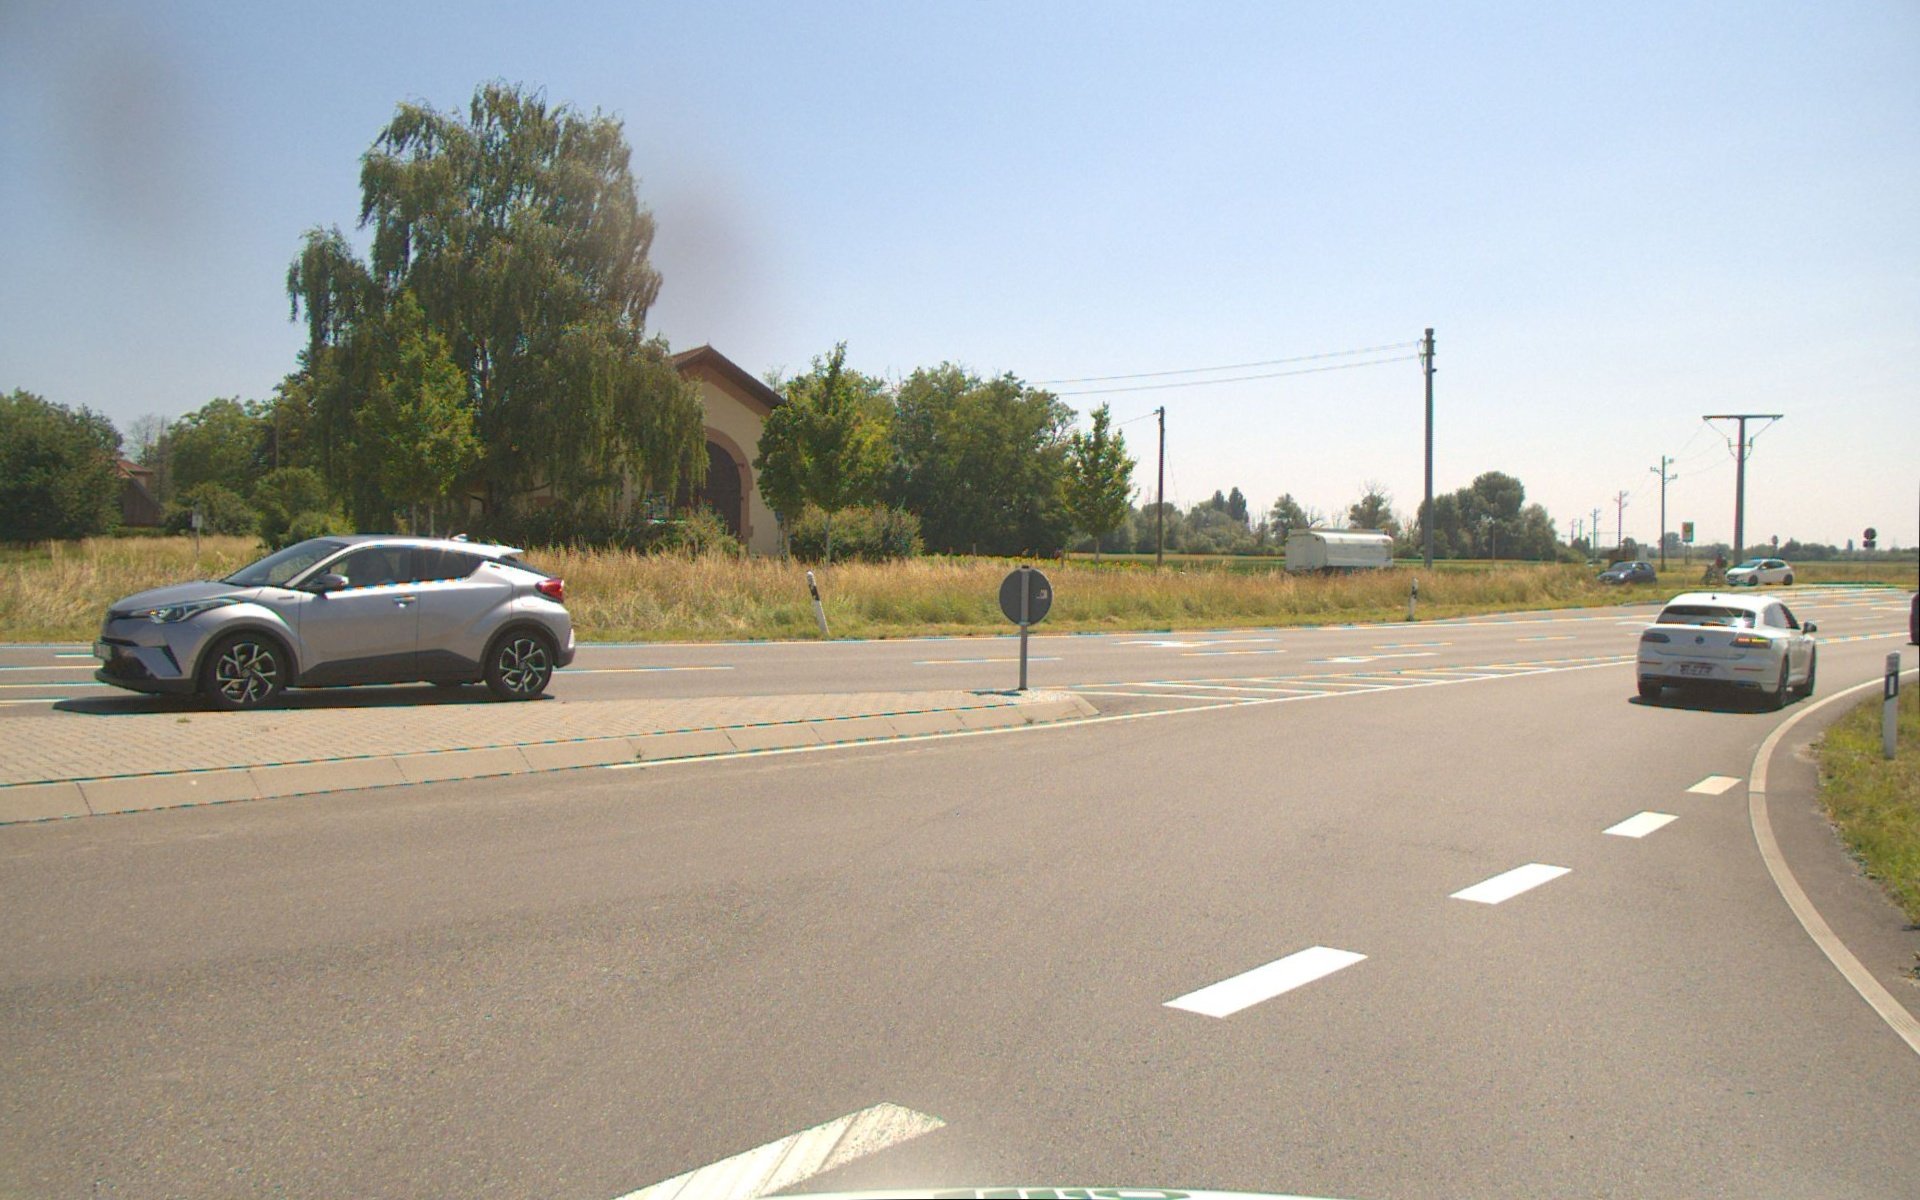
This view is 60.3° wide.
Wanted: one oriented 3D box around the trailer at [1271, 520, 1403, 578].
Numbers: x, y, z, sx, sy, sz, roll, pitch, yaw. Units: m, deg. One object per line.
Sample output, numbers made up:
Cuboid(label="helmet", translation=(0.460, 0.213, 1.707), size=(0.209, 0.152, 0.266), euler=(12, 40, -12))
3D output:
Cuboid(label="trailer", translation=(17.256, -2.314, 75.493), size=(6.325, 2.498, 2.647), euler=(-1, 3, -41))

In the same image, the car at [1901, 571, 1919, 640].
Cuboid(label="car", translation=(24.872, 0.157, 40.760), size=(1.908, 1.644, 4.348), euler=(1, 0, 44))

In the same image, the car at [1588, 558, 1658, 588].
Cuboid(label="car", translation=(34.434, -1.381, 85.857), size=(3.798, 1.411, 1.657), euler=(0, 3, -37))

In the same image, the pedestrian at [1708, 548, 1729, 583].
Cuboid(label="pedestrian", translation=(40.018, -1.810, 87.291), size=(0.836, 1.816, 0.603), euler=(1, 2, -35))

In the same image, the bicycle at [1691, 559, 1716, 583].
Cuboid(label="bicycle", translation=(39.327, -1.529, 87.499), size=(1.493, 1.269, 0.486), euler=(1, 2, -36))

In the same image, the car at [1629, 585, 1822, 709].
Cuboid(label="car", translation=(10.778, 0.561, 23.100), size=(1.815, 1.458, 4.596), euler=(3, 2, 32))

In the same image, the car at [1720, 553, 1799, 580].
Cuboid(label="car", translation=(45.400, -1.890, 93.952), size=(3.962, 1.355, 1.688), euler=(1, 2, -19))

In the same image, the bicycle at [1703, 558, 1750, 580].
Cuboid(label="bicycle", translation=(48.219, -1.945, 104.021), size=(2.563, 1.396, 0.899), euler=(0, -1, 35))

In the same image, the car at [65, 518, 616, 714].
Cuboid(label="car", translation=(-5.702, 0.105, 15.579), size=(4.512, 1.570, 1.843), euler=(0, 2, -42))
